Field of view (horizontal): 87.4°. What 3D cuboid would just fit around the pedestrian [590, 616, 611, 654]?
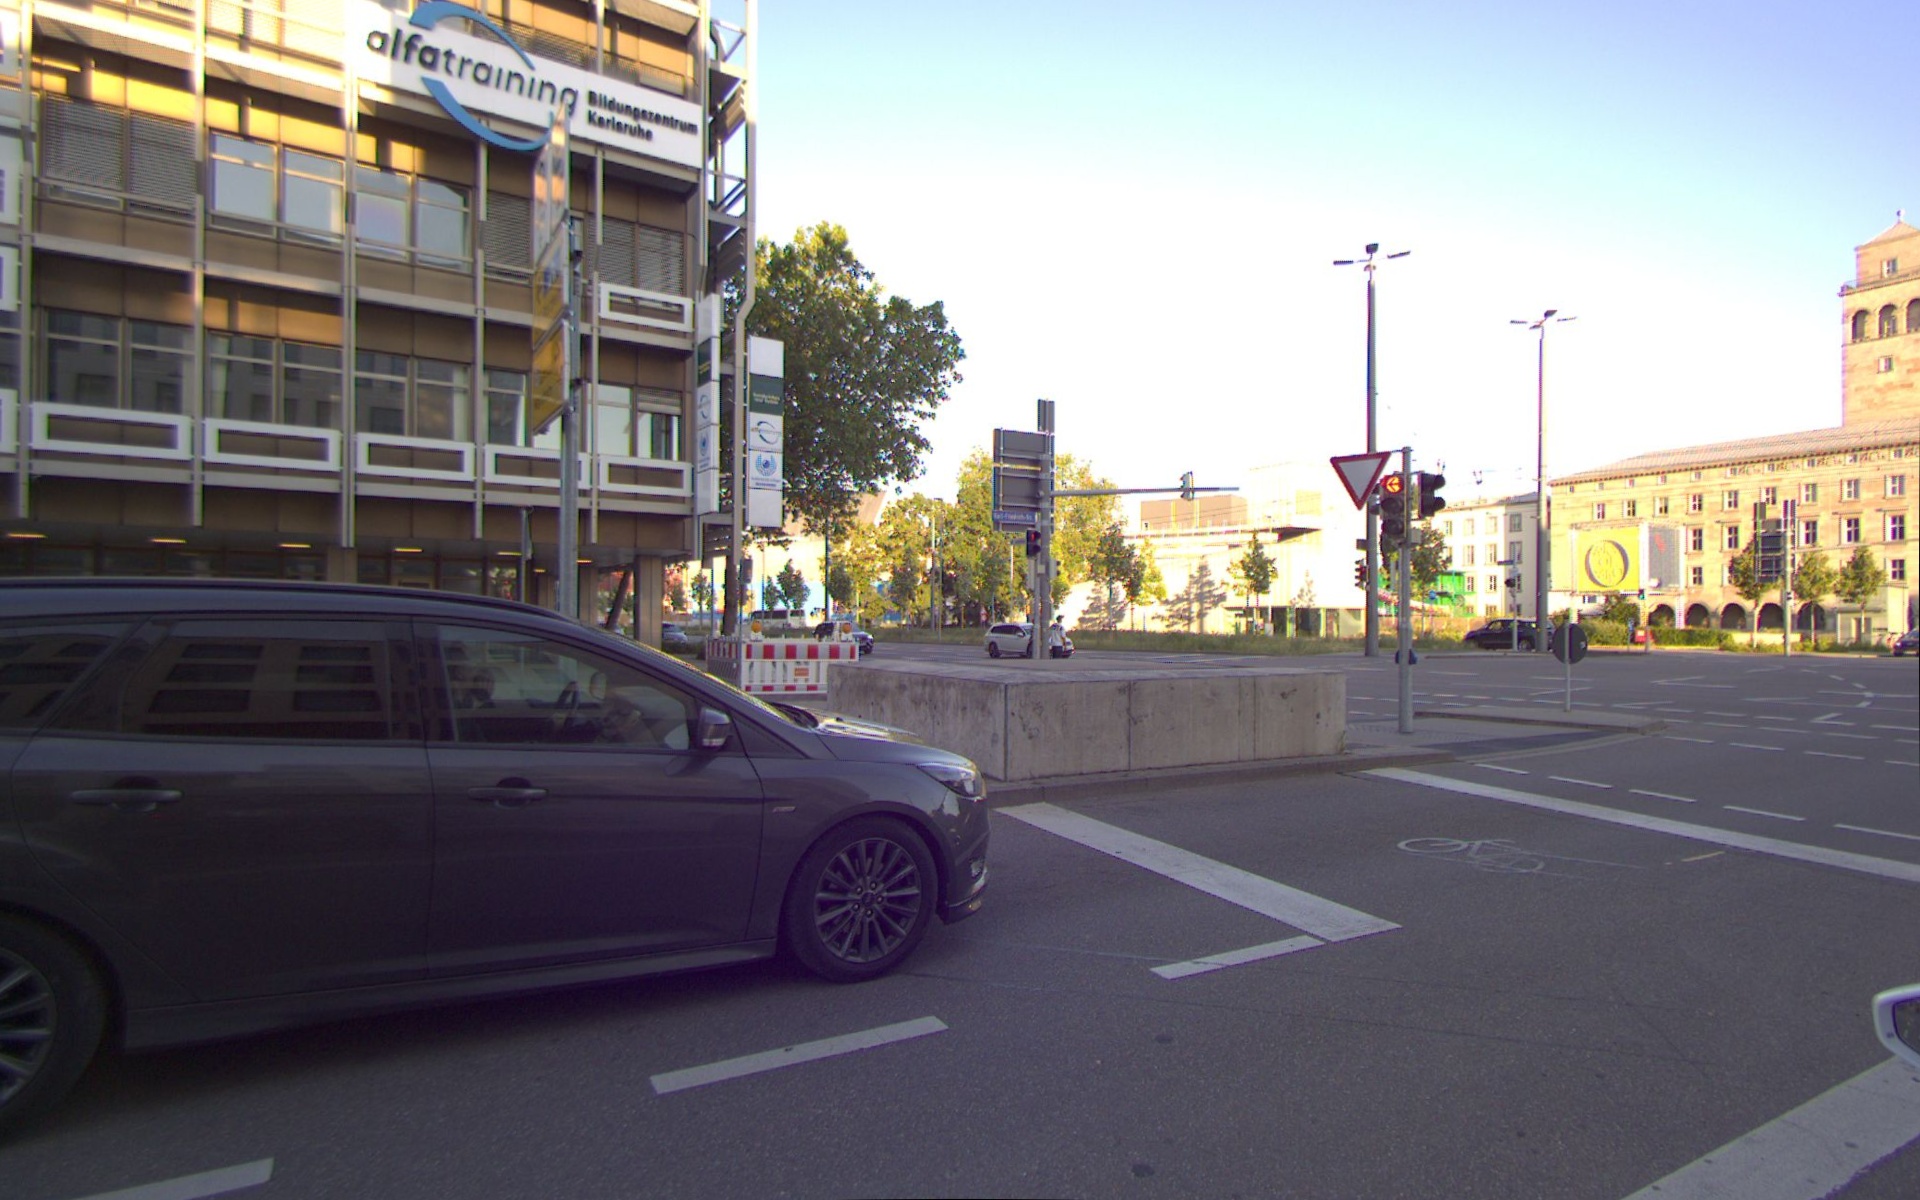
[{"bbox_3d":[-15.606,1.505,43.579,0.660,1.606,0.715,2,0,-34],"label":"pedestrian"}]

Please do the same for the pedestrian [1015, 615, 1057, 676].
[{"bbox_3d":[2.225,1.324,29.560,0.949,1.744,0.816,1,-1,-34],"label":"pedestrian"}]

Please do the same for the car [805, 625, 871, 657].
[{"bbox_3d":[-6.046,1.963,49.370,1.829,1.476,3.921,0,-1,-30],"label":"car"}]

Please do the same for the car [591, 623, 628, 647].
[{"bbox_3d":[-24.476,2.423,70.023,1.722,1.605,3.764,0,-1,-31],"label":"car"}]

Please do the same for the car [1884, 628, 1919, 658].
[{"bbox_3d":[51.298,2.259,53.650,4.111,1.485,1.813,0,-1,-32],"label":"car"}]

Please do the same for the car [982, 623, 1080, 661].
[{"bbox_3d":[2.874,1.700,41.753,1.829,1.476,4.555,0,-1,-30],"label":"car"}]

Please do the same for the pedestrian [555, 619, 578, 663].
[{"bbox_3d":[-16.932,1.758,43.260,0.749,1.830,0.715,2,0,-35],"label":"pedestrian"}]

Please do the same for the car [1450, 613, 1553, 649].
[{"bbox_3d":[26.236,1.483,48.776,1.726,1.626,4.096,1,-1,-34],"label":"car"}]

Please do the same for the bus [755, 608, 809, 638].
[{"bbox_3d":[-23.148,2.954,130.180,2.959,3.818,10.341,1,-1,-34],"label":"bus"}]

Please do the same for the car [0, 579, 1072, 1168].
[{"bbox_3d":[-1.825,0.690,3.895,4.330,1.482,1.748,1,0,-31],"label":"car"}]

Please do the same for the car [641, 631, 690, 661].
[{"bbox_3d":[-17.269,2.641,58.777,1.722,1.605,4.554,0,-1,-30],"label":"car"}]

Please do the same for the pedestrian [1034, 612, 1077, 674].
[{"bbox_3d":[2.734,1.207,28.817,0.949,1.744,0.816,1,-1,-34],"label":"pedestrian"}]
